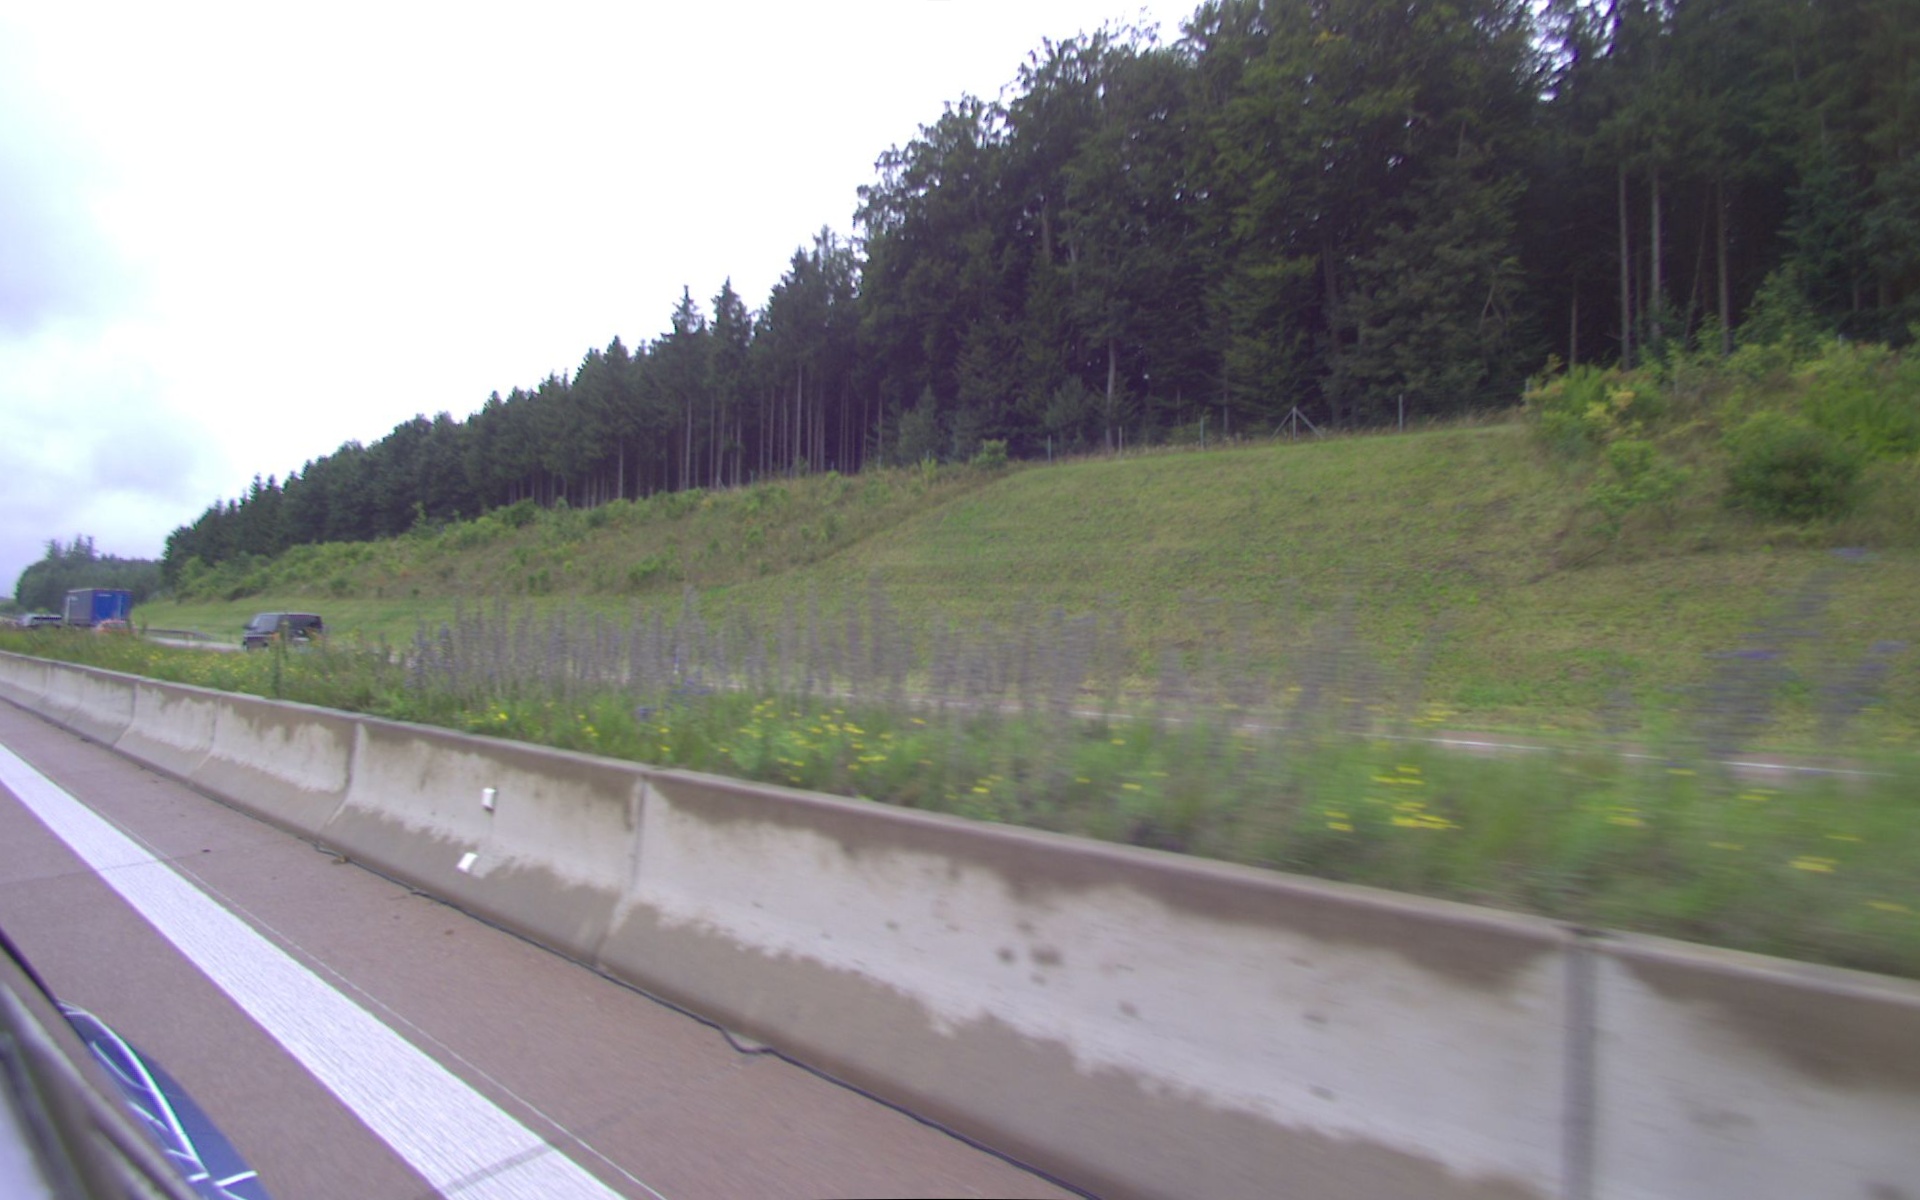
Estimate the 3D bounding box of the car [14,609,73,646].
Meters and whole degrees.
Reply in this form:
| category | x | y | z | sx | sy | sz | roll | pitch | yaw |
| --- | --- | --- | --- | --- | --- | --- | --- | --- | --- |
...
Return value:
| category | x | y | z | sx | sy | sz | roll | pitch | yaw |
| --- | --- | --- | --- | --- | --- | --- | --- | --- | --- |
| car | -48.319 | 1.411 | 53.325 | 4.938 | 1.793 | 1.870 | 0 | 0 | 43 |

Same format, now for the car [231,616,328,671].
| category | x | y | z | sx | sy | sz | roll | pitch | yaw |
| --- | --- | --- | --- | --- | --- | --- | --- | --- | --- |
| car | -28.049 | 1.708 | 41.625 | 5.672 | 2.029 | 1.973 | 0 | 0 | 41 |

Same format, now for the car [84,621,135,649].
| category | x | y | z | sx | sy | sz | roll | pitch | yaw |
| --- | --- | --- | --- | --- | --- | --- | --- | --- | --- |
| car | -50.480 | 2.057 | 60.040 | 4.116 | 1.540 | 1.708 | 0 | 0 | 42 |

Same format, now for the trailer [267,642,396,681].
| category | x | y | z | sx | sy | sz | roll | pitch | yaw |
| --- | --- | --- | --- | --- | --- | --- | --- | --- | --- |
| trailer | -23.413 | 2.209 | 37.557 | 6.848 | 1.005 | 2.182 | 0 | 2 | 41 |

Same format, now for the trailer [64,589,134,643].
| category | x | y | z | sx | sy | sz | roll | pitch | yaw |
| --- | --- | --- | --- | --- | --- | --- | --- | --- | --- |
| trailer | -74.764 | 1.271 | 87.717 | 13.577 | 4.372 | 2.888 | 0 | 0 | 42 |
